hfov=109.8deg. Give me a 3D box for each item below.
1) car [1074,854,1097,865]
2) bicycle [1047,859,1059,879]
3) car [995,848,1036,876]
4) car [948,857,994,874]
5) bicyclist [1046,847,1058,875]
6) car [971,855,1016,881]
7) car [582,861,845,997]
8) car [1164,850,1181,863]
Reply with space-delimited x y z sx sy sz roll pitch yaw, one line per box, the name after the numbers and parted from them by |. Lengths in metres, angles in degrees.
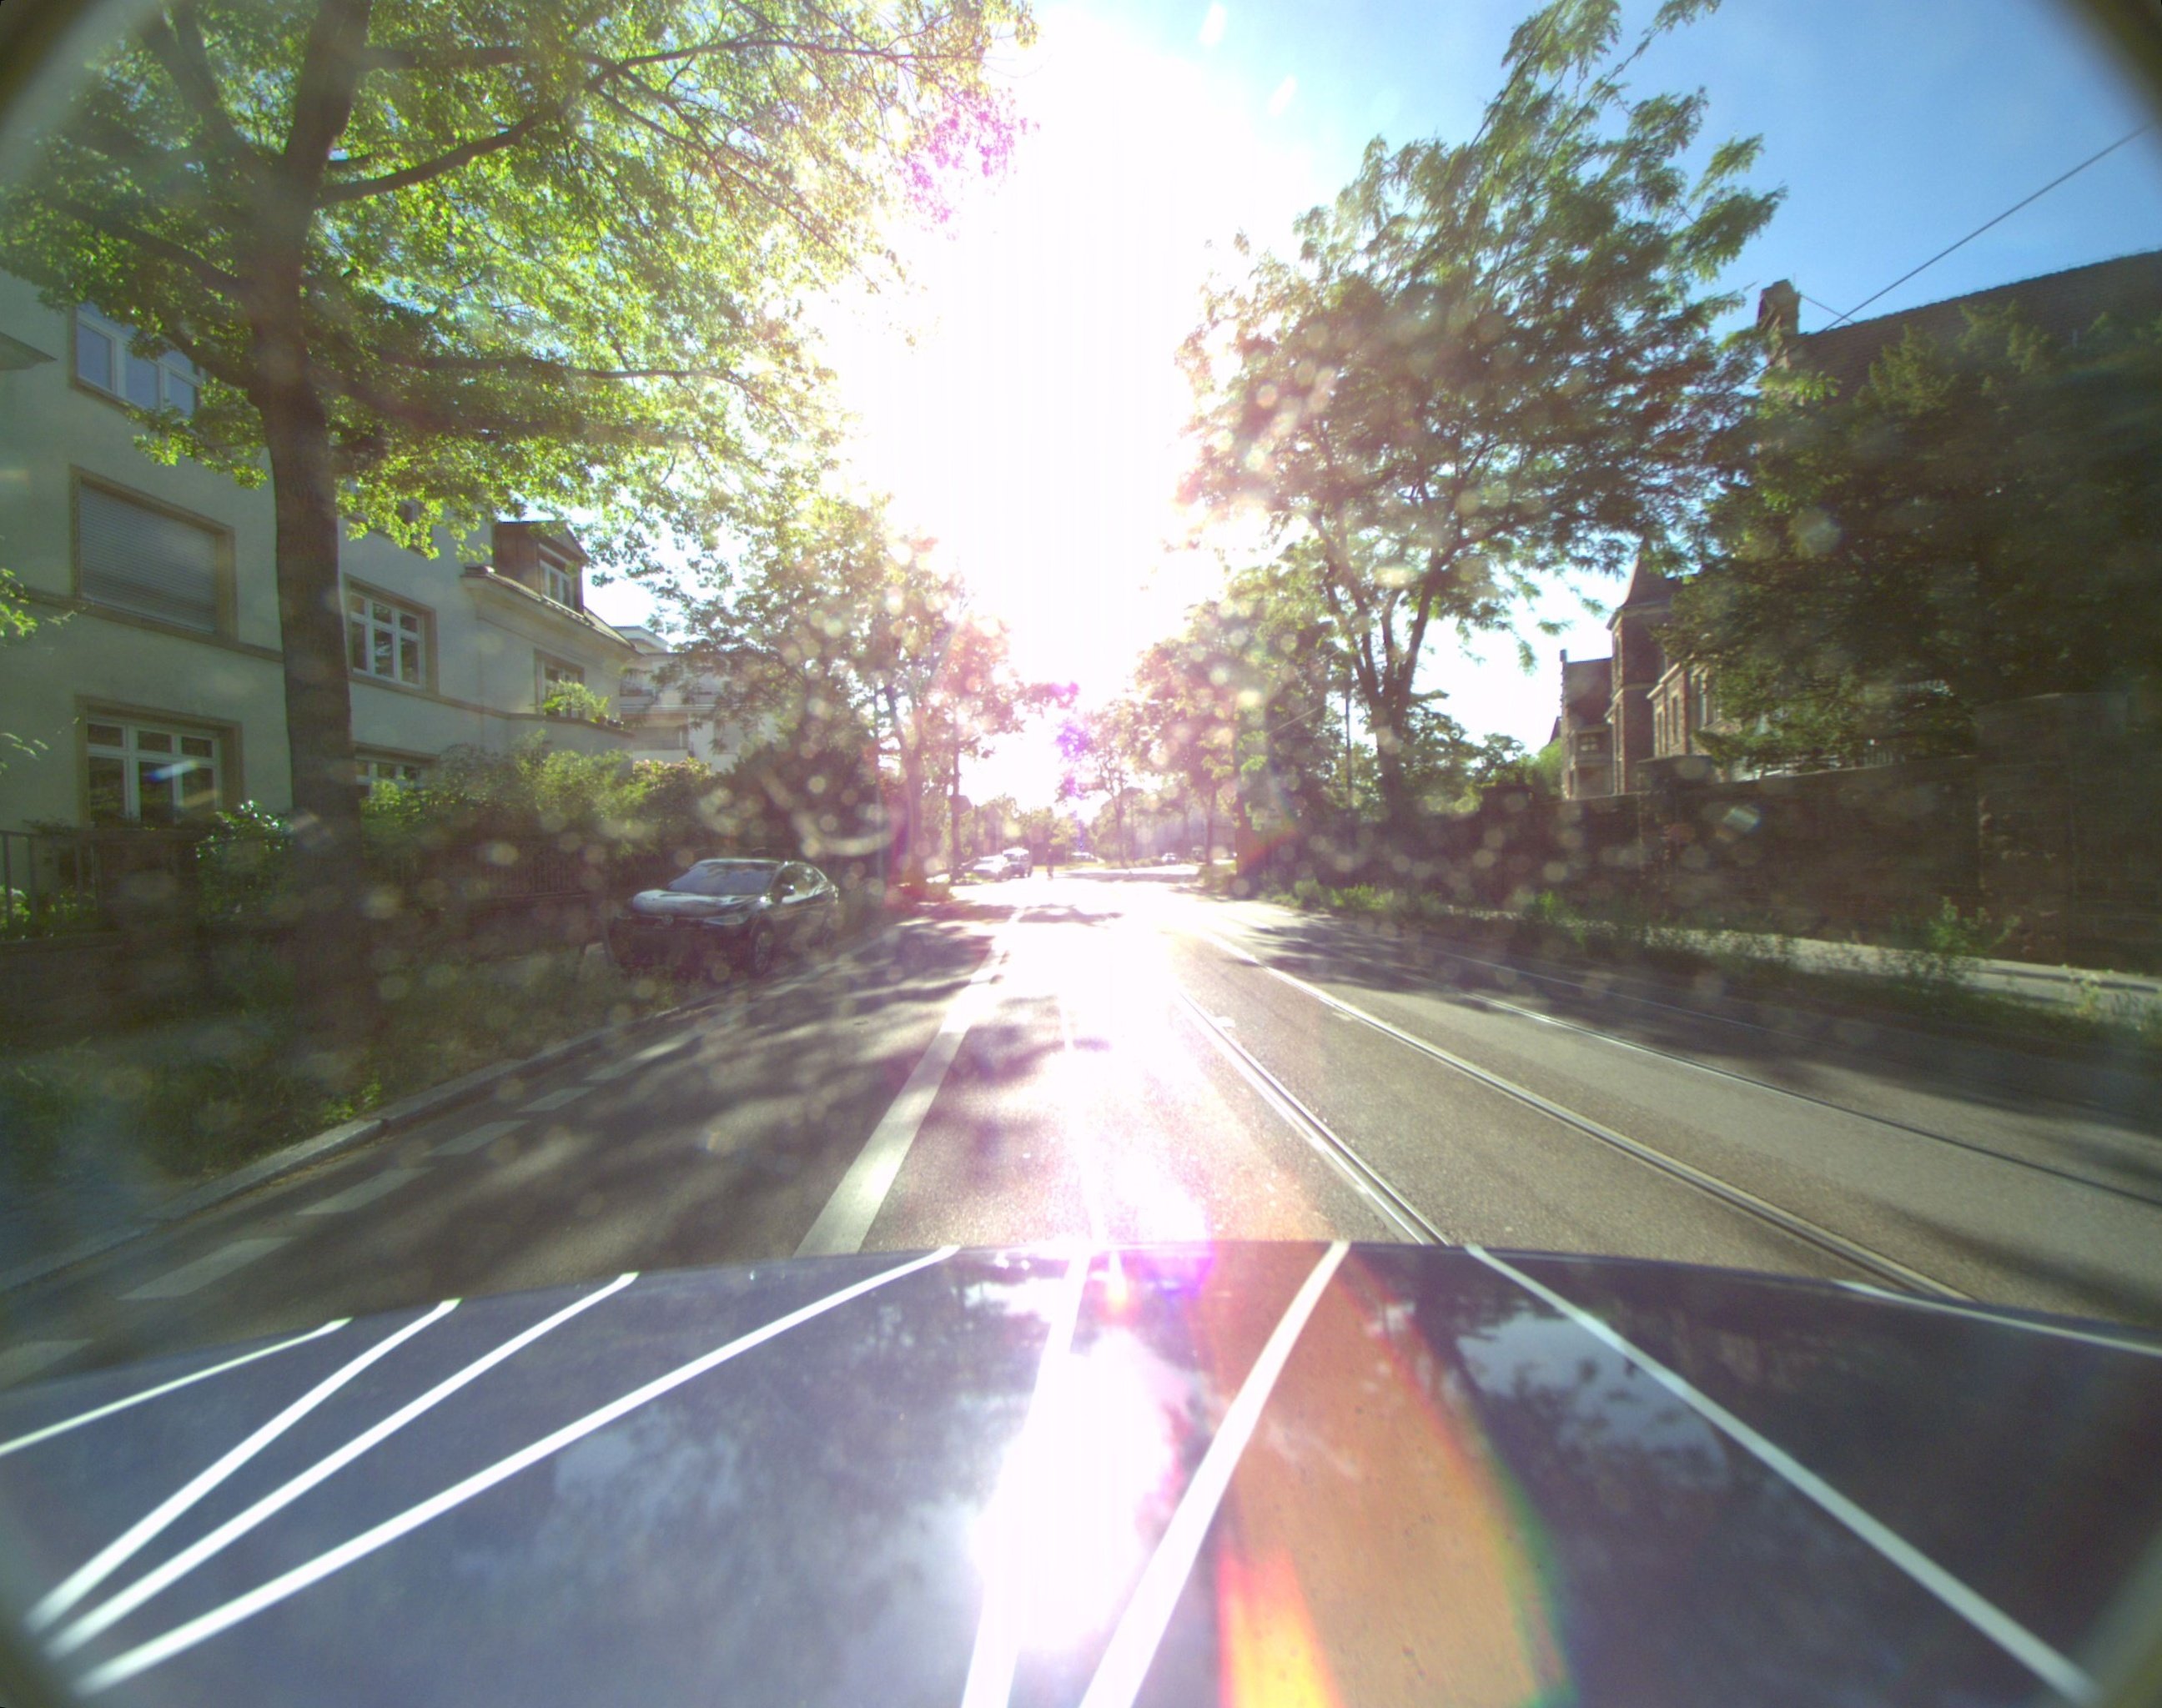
0.759 0.923 128.787 3.908 1.683 1.905 -1 0 -1 | car
-1.687 0.873 45.408 0.588 1.105 1.855 -2 0 1 | bicycle
-4.398 0.507 51.687 1.900 1.775 4.670 -1 0 6 | car
-10.037 1.048 69.536 3.998 1.433 1.813 -2 0 -3 | car
-1.715 0.424 45.414 0.644 1.632 0.665 -2 1 1 | bicyclist
-5.160 0.795 45.331 1.901 1.402 4.260 -1 0 4 | car
-5.195 0.948 11.505 1.919 1.590 4.258 2 0 -1 | car
11.921 0.321 98.718 1.997 1.539 4.002 -2 0 8 | car
